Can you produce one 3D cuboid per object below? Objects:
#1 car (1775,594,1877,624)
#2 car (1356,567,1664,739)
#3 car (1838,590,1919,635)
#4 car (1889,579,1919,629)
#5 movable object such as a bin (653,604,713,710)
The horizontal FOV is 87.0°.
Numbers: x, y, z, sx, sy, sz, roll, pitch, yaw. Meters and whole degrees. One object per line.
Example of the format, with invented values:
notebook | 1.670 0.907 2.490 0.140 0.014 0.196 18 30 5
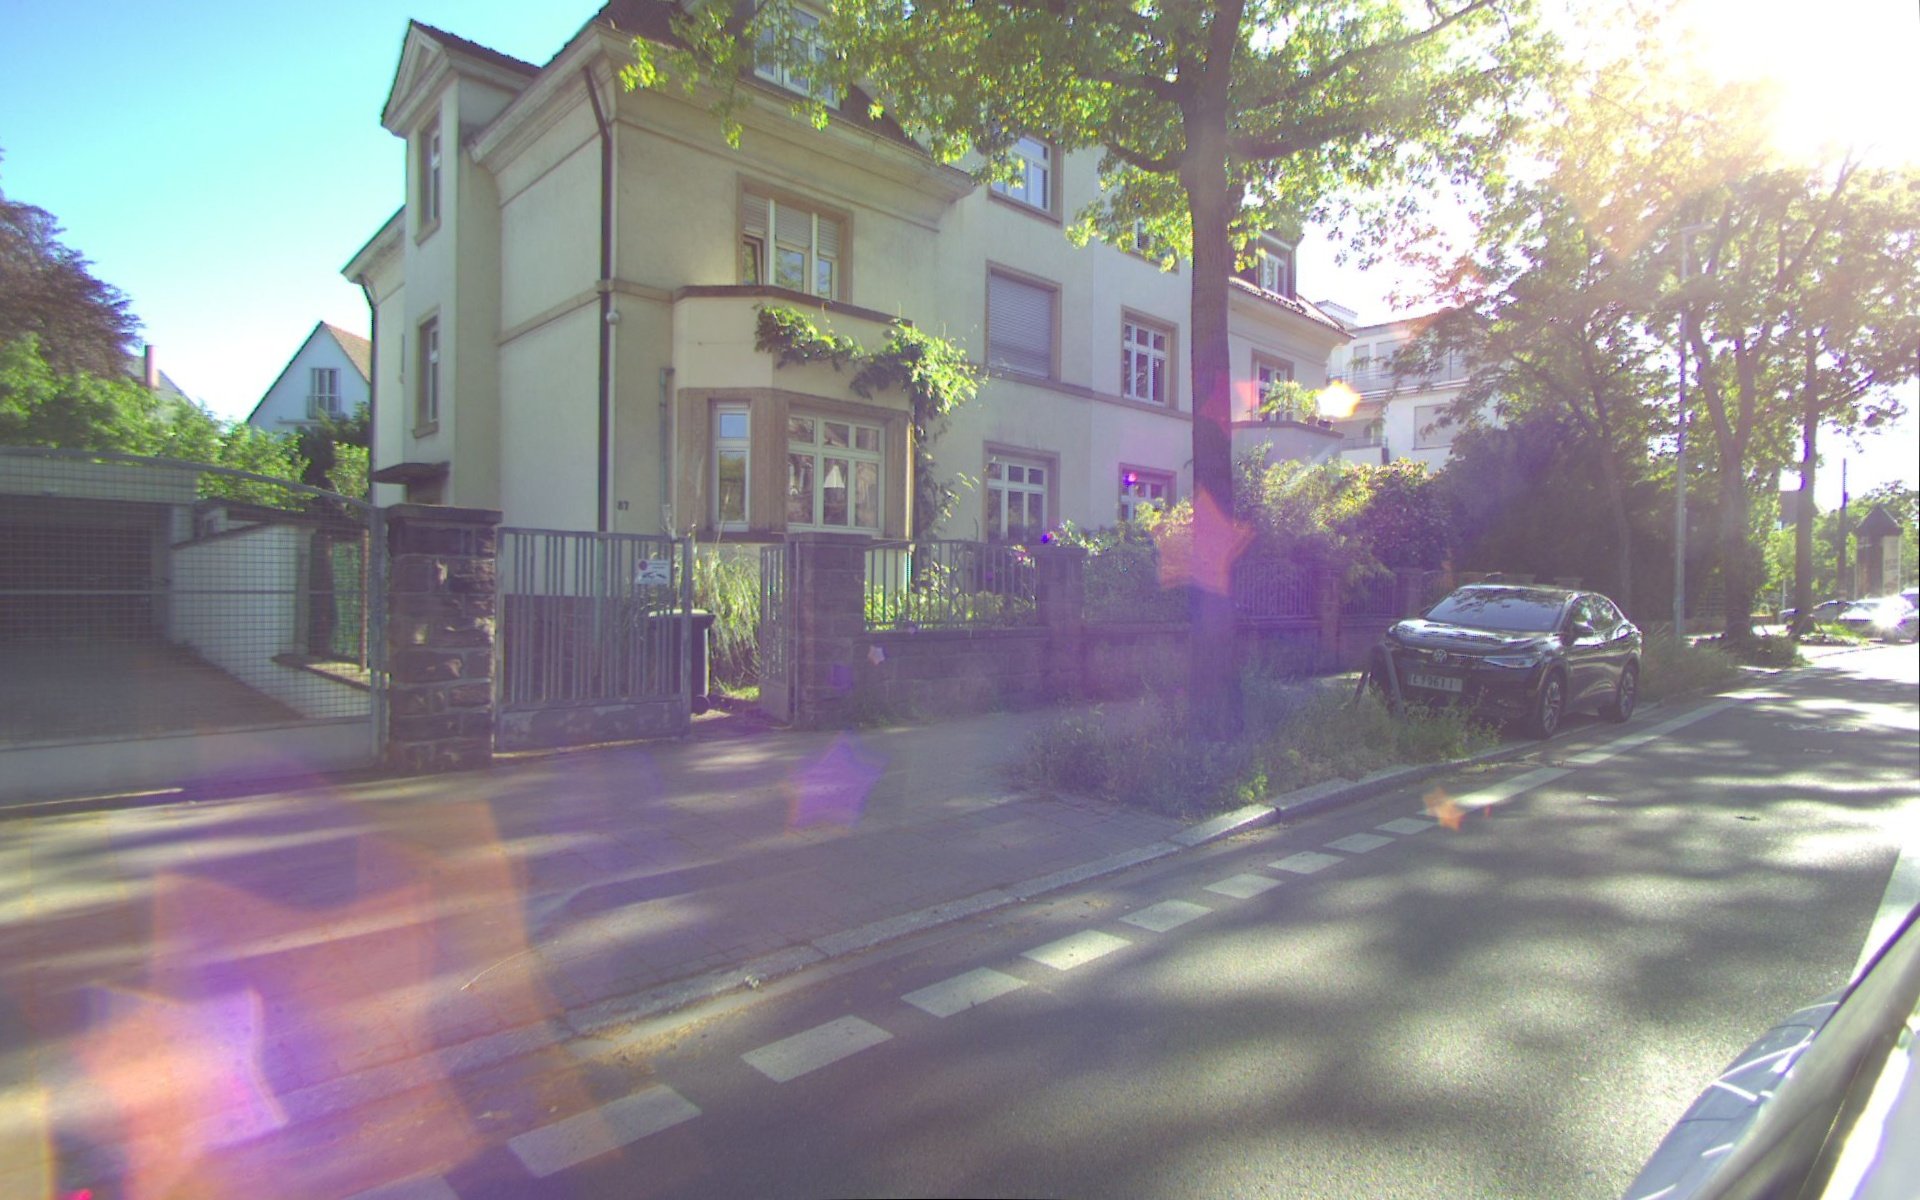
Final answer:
car | 46.055 0.459 53.848 1.784 1.459 3.990 0 1 -44
car | 6.700 0.494 12.143 4.186 1.619 1.917 0 4 -42
car | 31.501 0.382 34.282 4.181 1.427 1.901 0 1 -38
car | 36.661 0.130 37.864 4.580 1.808 1.903 0 1 -35
movable object such as a bin | -2.932 0.581 10.677 0.551 1.062 0.676 0 0 -20
